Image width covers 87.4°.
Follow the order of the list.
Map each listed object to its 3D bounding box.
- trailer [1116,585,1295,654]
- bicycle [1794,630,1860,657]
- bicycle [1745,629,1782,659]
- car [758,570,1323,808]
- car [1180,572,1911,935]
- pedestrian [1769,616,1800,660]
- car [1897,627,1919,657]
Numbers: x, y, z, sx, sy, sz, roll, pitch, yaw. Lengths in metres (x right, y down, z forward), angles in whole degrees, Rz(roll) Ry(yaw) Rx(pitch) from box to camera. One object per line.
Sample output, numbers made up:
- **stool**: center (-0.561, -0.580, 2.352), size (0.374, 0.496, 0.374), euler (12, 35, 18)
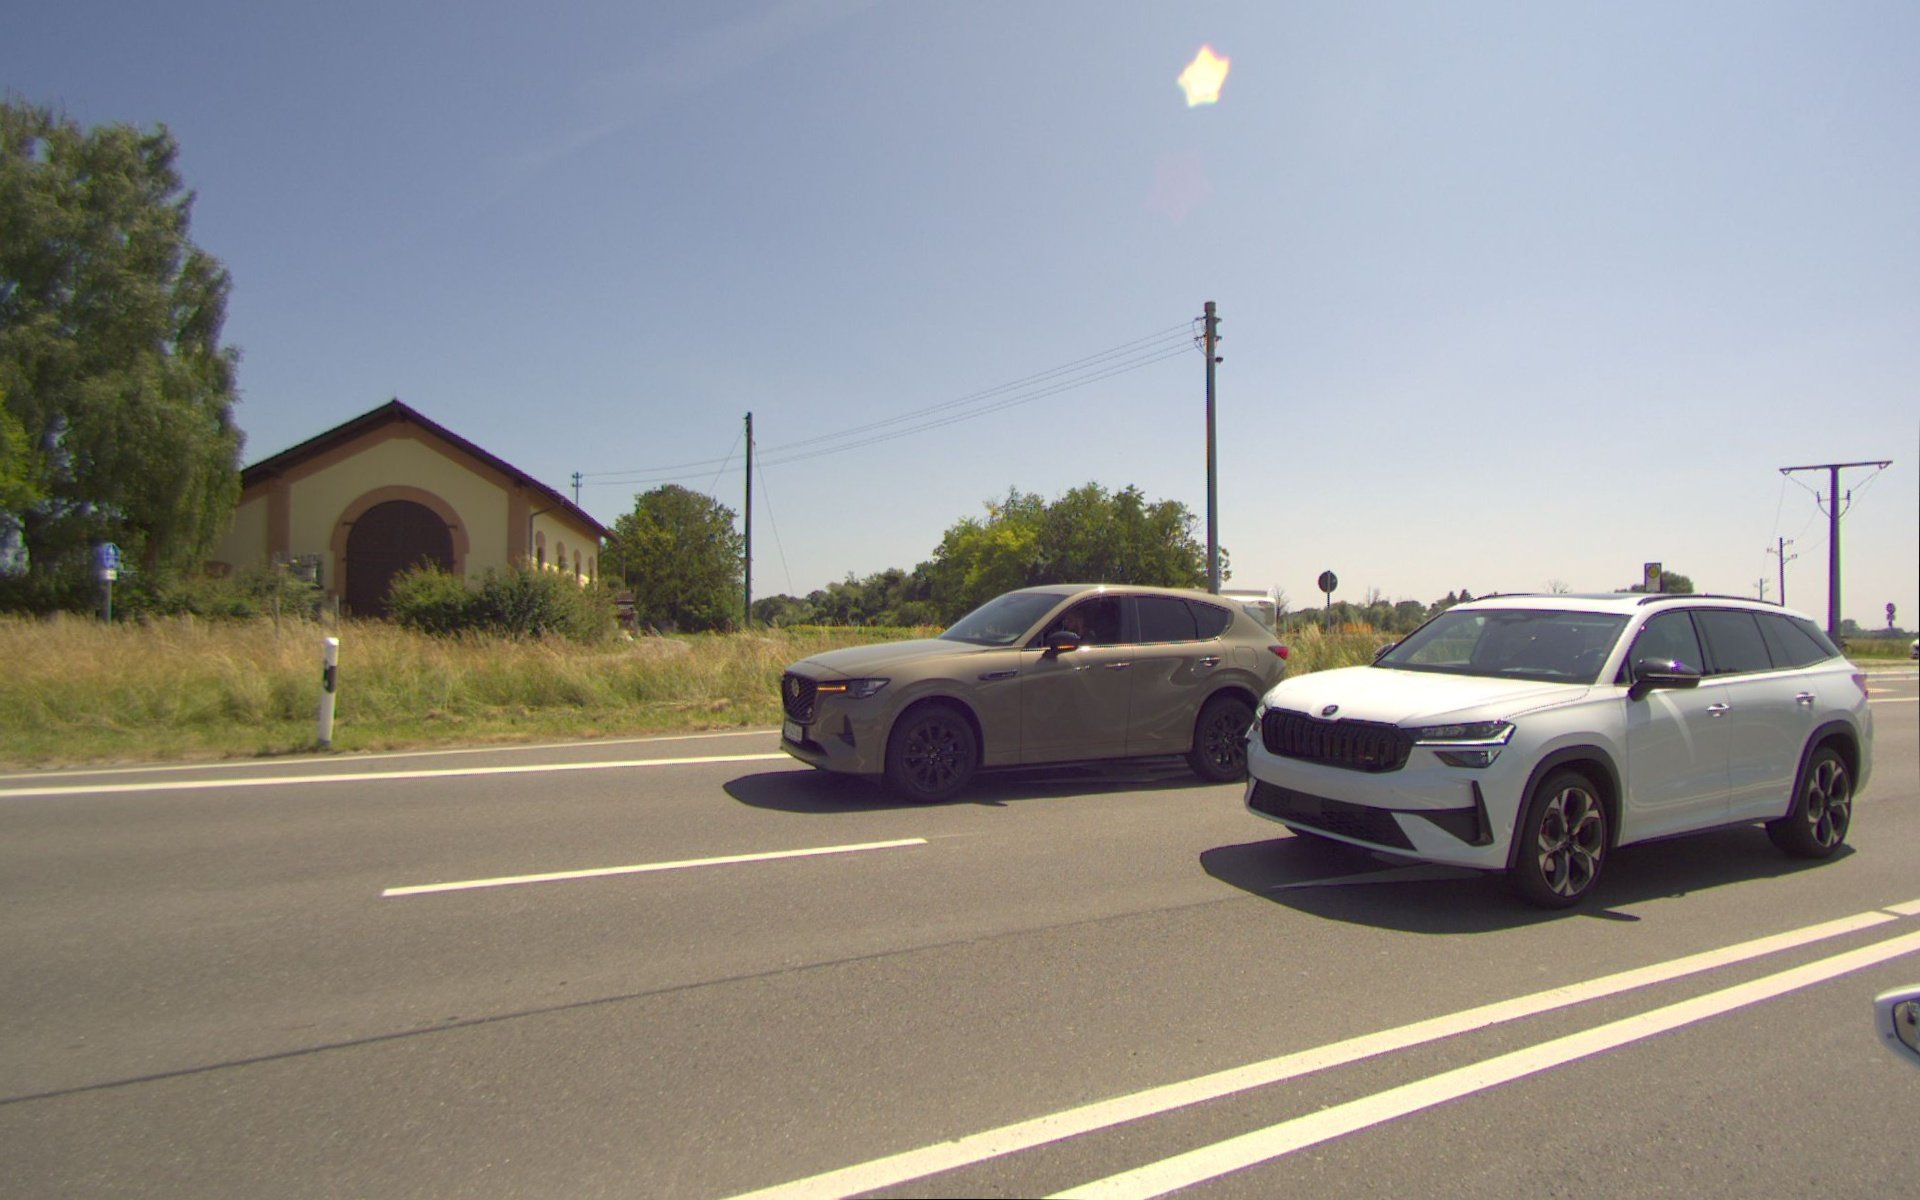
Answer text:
- **trailer**: center (9.404, 0.767, 38.449), size (6.290, 2.488, 2.673), euler (1, -1, -22)
- **bicycle**: center (47.612, 2.390, 55.196), size (0.894, 1.389, 2.590), euler (4, -5, -36)
- **bicycle**: center (34.186, 1.869, 42.731), size (1.486, 1.264, 0.490), euler (2, -1, -17)
- **car**: center (0.771, 0.692, 8.997), size (4.727, 1.672, 1.955), euler (1, -1, -26)
- **car**: center (3.936, 0.770, 6.576), size (4.782, 1.672, 1.871), euler (2, -1, -28)
- **pedestrian**: center (34.735, 1.605, 42.308), size (0.832, 1.809, 0.608), euler (2, -1, -16)
- **car**: center (45.935, 1.980, 46.668), size (3.971, 1.350, 1.691), euler (2, 0, -16)
